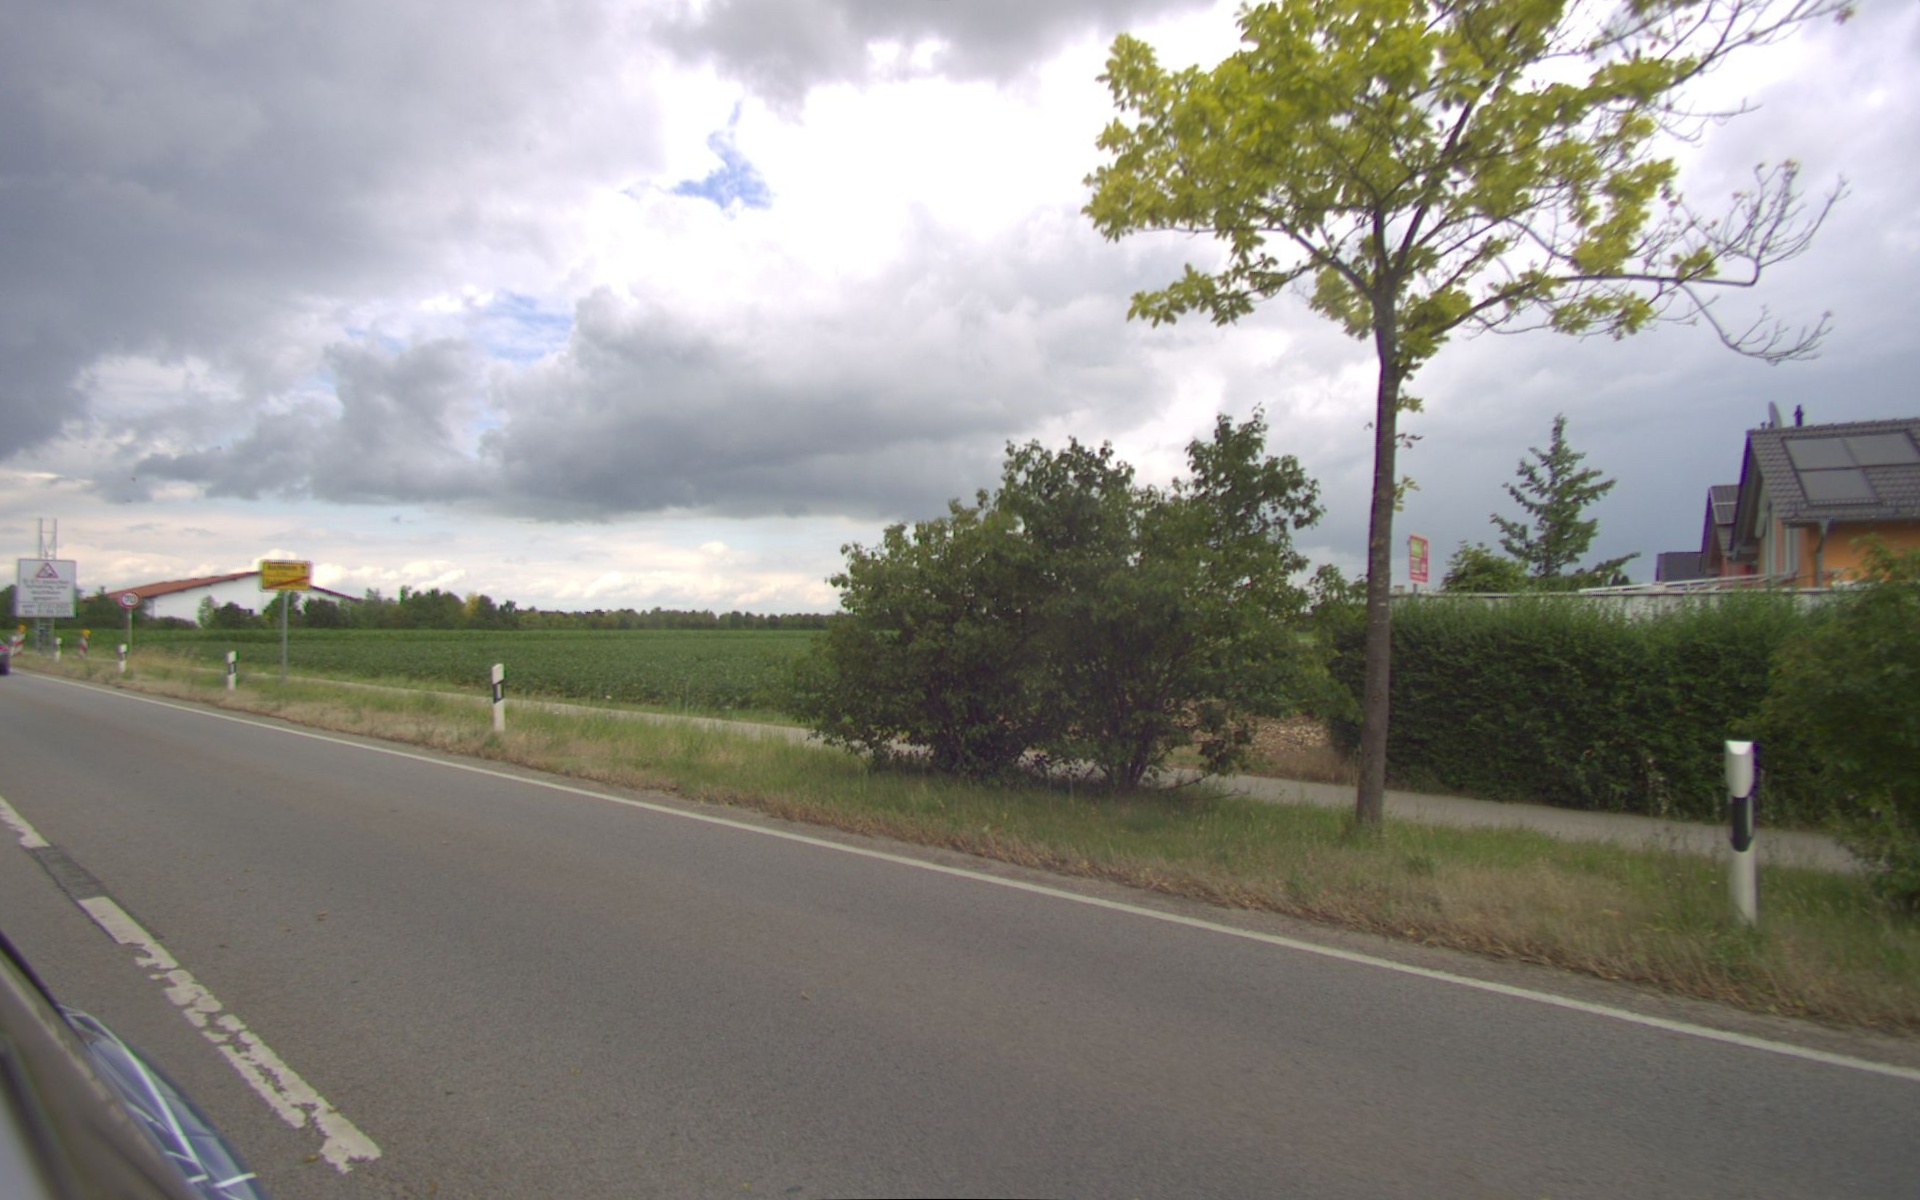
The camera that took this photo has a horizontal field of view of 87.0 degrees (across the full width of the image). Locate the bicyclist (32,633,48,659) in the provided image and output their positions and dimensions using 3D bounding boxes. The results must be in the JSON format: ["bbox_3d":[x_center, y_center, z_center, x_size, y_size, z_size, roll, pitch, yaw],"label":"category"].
[{"bbox_3d":[-58.148,2.914,63.947,1.222,1.596,0.523,-2,-4,41],"label":"bicyclist"}]

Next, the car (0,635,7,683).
[{"bbox_3d":[-31.943,1.855,32.233,4.368,1.475,1.833,-2,-3,41],"label":"car"}]

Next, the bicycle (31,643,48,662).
[{"bbox_3d":[-58.141,3.330,63.910,1.793,1.164,0.523,-2,-4,41],"label":"bicycle"}]
